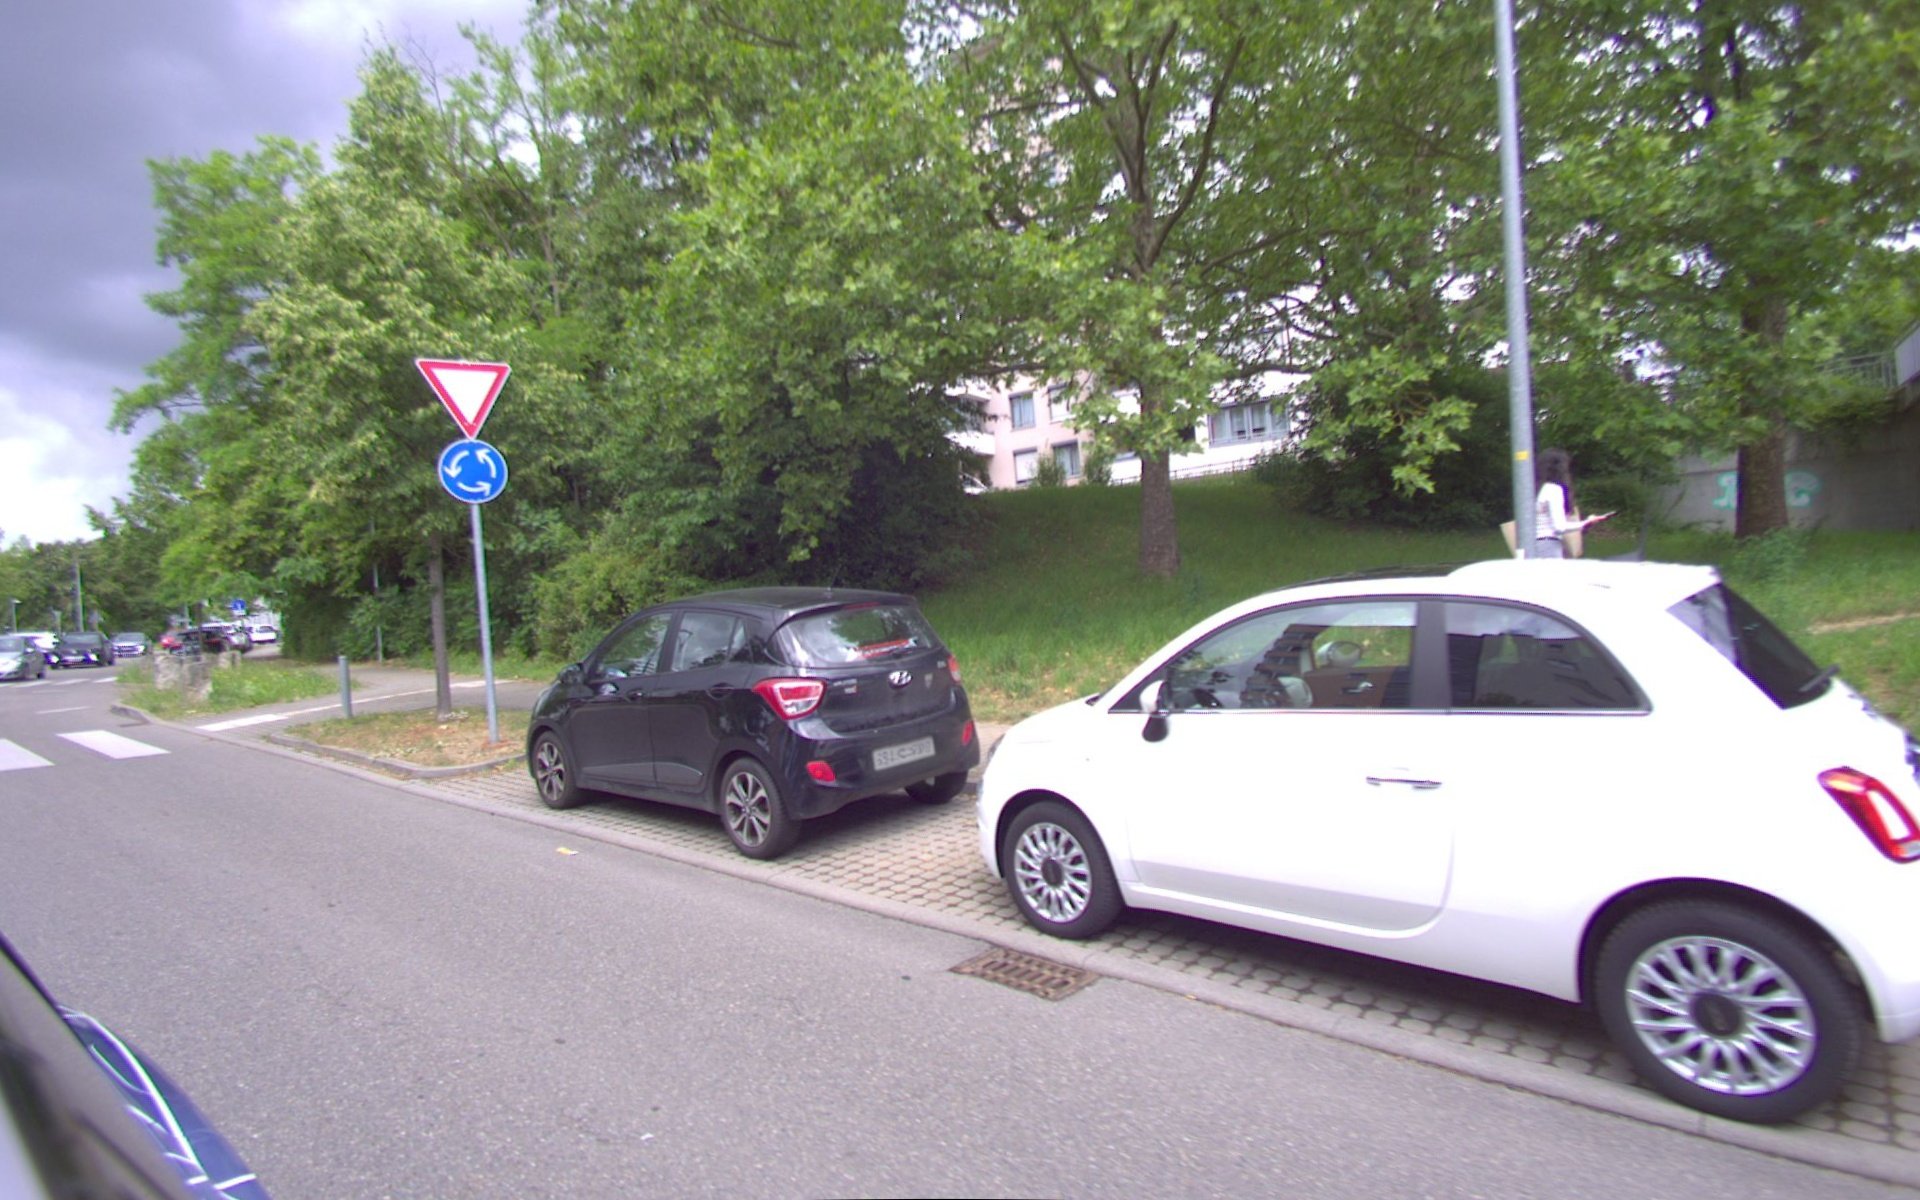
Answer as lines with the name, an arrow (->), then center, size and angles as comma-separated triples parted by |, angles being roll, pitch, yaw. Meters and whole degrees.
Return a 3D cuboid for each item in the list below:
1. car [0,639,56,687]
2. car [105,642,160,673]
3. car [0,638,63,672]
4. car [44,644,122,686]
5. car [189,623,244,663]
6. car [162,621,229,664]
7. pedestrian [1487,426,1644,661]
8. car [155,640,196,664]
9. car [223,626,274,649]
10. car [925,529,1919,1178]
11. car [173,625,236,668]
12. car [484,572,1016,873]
car -> -32.983, 2.182, 34.873 | 1.730, 1.527, 4.013 | -4, 0, -28
car -> -49.358, 3.384, 60.444 | 1.730, 1.628, 4.013 | -4, 0, -28
car -> -48.923, 2.845, 52.204 | 3.619, 1.659, 1.857 | -2, -1, -31
car -> -39.537, 2.891, 45.721 | 1.730, 1.628, 4.013 | -4, 0, -28
car -> -36.669, 2.104, 50.009 | 1.783, 1.676, 4.449 | -7, 2, -33
car -> -30.576, 1.692, 40.600 | 1.667, 1.475, 4.468 | -7, 2, -33
pedestrian -> 4.763, -0.427, 8.011 | 0.650, 1.734, 0.740 | -4, 0, -6
car -> -59.549, 3.933, 76.851 | 1.730, 1.628, 4.013 | -4, 0, -28
car -> -61.741, 3.252, 87.823 | 3.970, 1.652, 1.661 | -4, 0, 20
car -> 1.823, 0.583, 3.928 | 3.545, 1.470, 1.865 | -2, 3, 42
car -> -33.644, 2.023, 45.177 | 1.775, 1.627, 4.490 | -7, 3, -33
car -> -1.701, 0.662, 7.170 | 1.766, 1.479, 4.003 | -4, 1, -44
